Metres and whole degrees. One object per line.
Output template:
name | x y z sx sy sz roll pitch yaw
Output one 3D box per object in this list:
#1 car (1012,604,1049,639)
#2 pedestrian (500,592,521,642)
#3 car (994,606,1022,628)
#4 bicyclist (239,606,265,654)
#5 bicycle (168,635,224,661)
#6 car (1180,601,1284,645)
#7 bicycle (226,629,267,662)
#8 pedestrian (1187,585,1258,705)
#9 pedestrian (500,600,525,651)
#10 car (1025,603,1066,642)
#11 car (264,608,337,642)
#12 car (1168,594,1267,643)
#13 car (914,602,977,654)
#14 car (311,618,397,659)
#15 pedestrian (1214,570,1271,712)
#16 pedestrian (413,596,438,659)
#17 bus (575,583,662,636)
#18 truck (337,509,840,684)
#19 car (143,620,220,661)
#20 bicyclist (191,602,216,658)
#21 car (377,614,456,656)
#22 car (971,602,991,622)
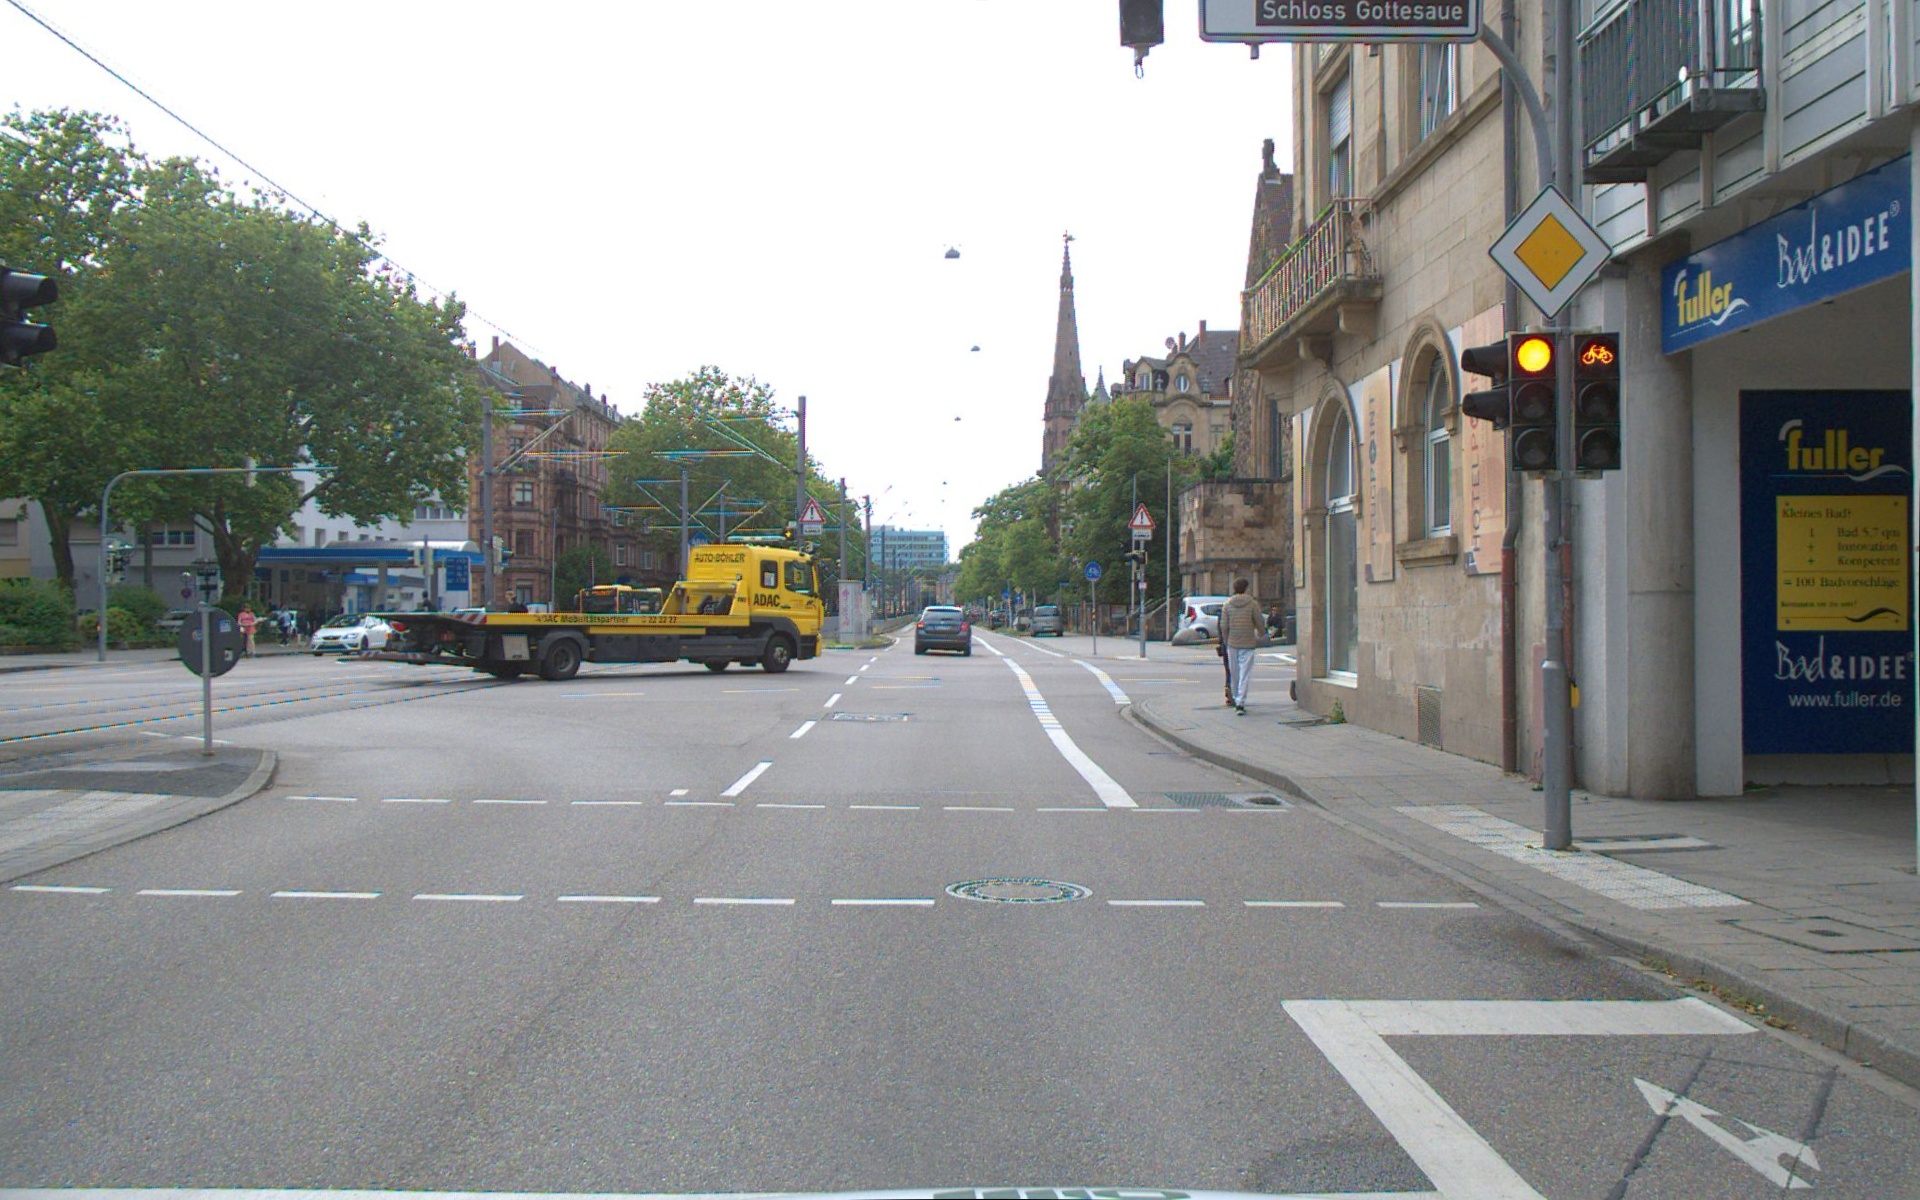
car | 4.208 1.276 99.707 1.953 2.049 3.999 1 -1 -1
pedestrian | -14.055 0.526 51.694 0.535 1.564 0.465 1 -1 -5
car | 3.742 1.286 128.513 1.953 1.635 4.163 -2 0 -1
bicyclist | -23.522 0.993 54.939 0.576 1.595 0.618 1 -1 -1
bicycle | -24.931 1.561 53.970 1.645 0.786 0.656 1 -1 20
car | 10.680 0.894 65.048 3.721 1.629 2.000 1 -1 -1
bicycle | -23.525 1.494 54.590 0.511 1.035 1.936 1 -1 -1
pedestrian | 3.794 0.641 23.847 0.616 1.681 0.993 0 -1 36
pedestrian | -13.855 0.797 51.169 0.640 1.564 0.465 1 -1 -5
car | 4.637 1.204 90.188 1.953 2.049 3.999 1 -1 -1
car | -31.860 1.197 79.965 1.953 1.557 3.999 1 -1 -1
car | 10.633 0.770 68.459 3.721 1.937 2.000 1 -1 -1
car | -0.478 0.851 50.787 1.798 1.495 3.991 1 -1 -2
car | -21.416 1.343 58.575 1.601 1.349 3.999 1 -1 -1
pedestrian | 3.798 0.543 22.173 0.571 1.845 1.015 1 -1 19
pedestrian | -15.813 0.813 48.972 0.562 1.826 0.518 1 -1 -5
bus | -21.836 0.628 106.624 3.022 3.166 13.091 1 0 -1
truck | -6.918 -0.018 32.792 2.590 2.992 10.117 0 0 42
car | -32.539 1.673 69.244 1.859 1.585 3.828 1 -1 -9
bicyclist | -24.684 0.980 53.991 0.522 1.815 0.470 1 -1 19
car | -21.394 1.360 65.209 1.856 1.585 3.835 1 -1 -1
car | 2.195 1.281 172.136 1.953 2.049 3.999 1 -1 -1
